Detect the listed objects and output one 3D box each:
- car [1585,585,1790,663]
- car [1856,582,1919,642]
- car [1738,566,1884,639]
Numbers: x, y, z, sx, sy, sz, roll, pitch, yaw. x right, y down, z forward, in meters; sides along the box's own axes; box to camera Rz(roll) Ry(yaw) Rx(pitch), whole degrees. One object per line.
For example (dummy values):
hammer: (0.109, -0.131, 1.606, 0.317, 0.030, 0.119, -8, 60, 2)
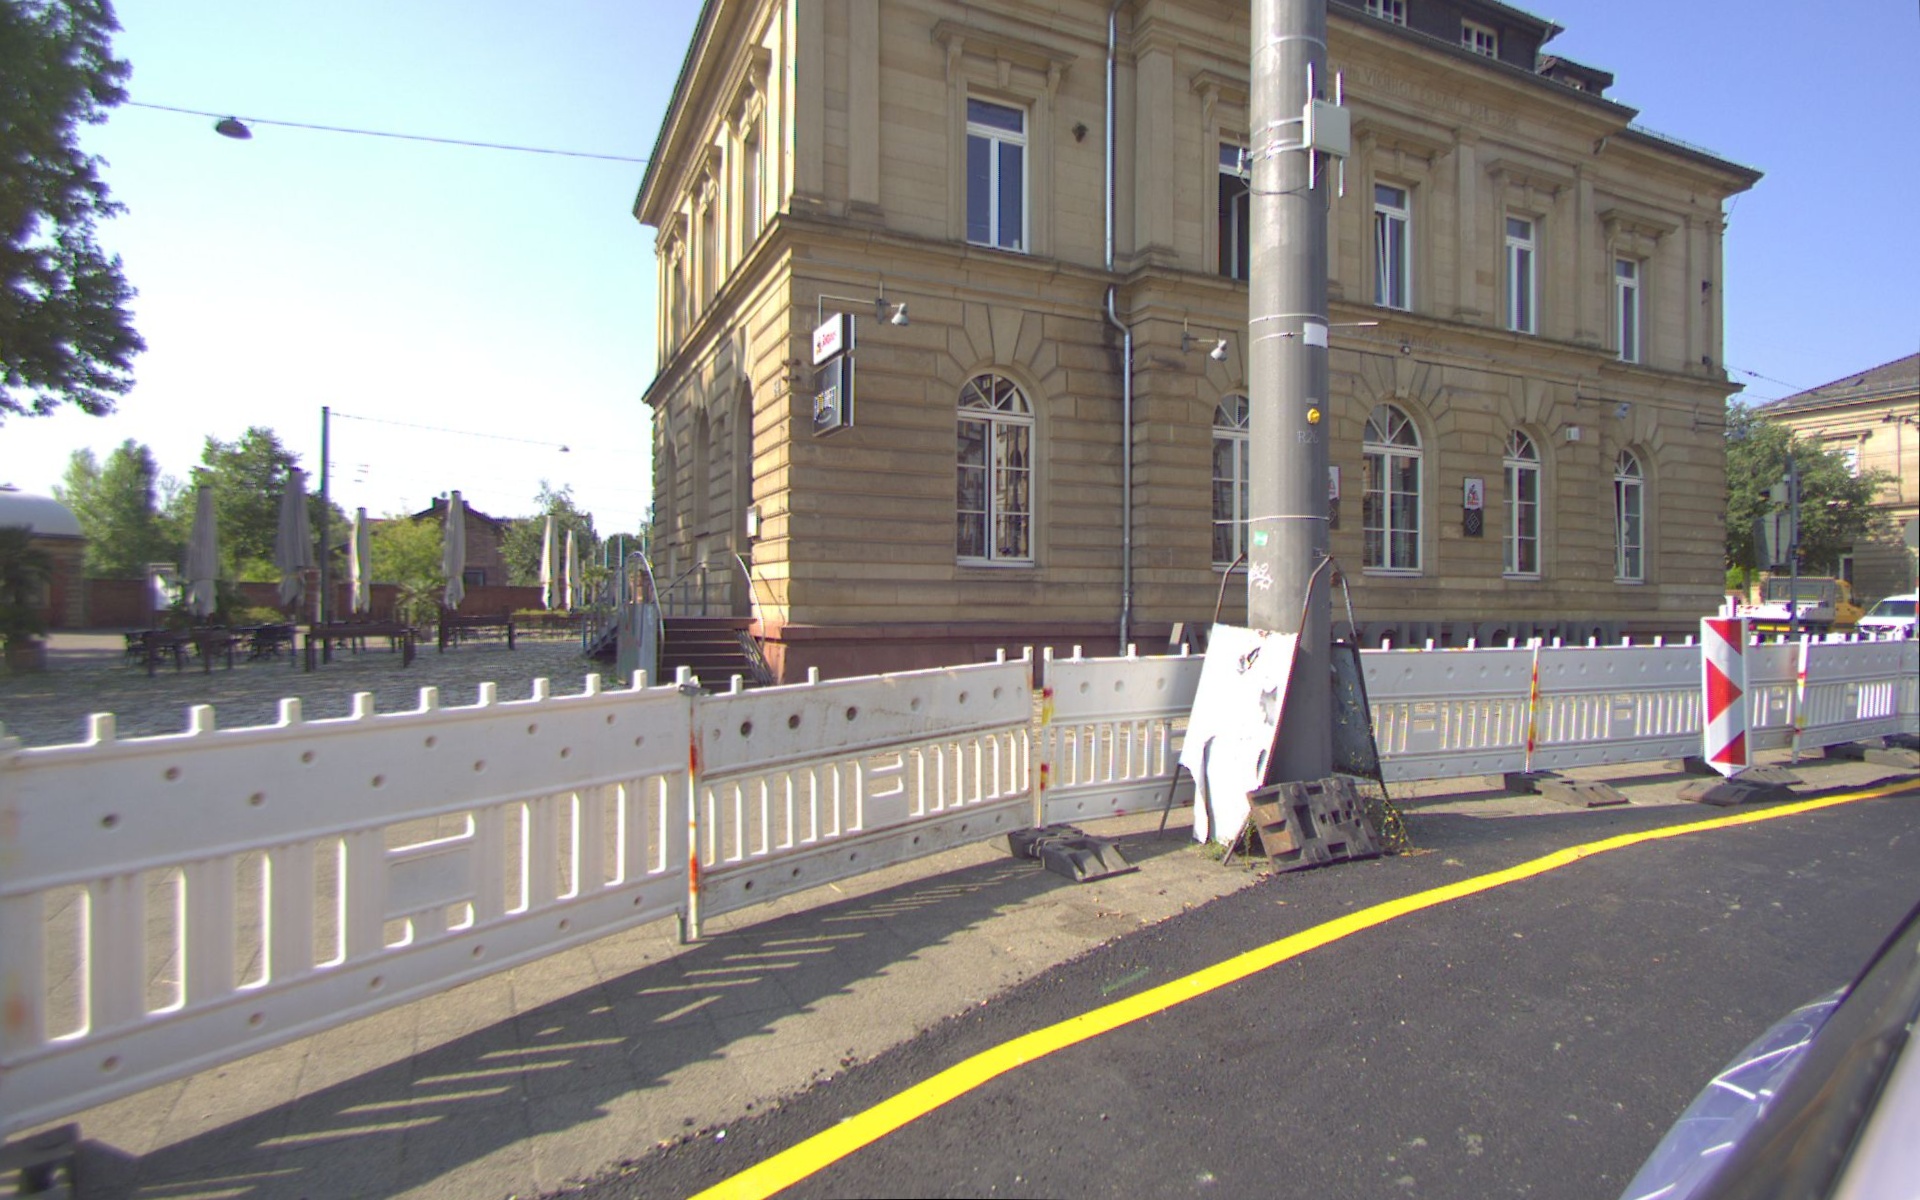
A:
car: (18.876, 0.552, 26.404, 1.636, 1.554, 4.009, -2, 6, -40)
car: (31.138, 0.454, 32.521, 4.136, 1.805, 1.914, 3, 1, -24)
car: (30.820, 0.081, 36.608, 5.378, 2.453, 2.268, 1, 1, -29)
